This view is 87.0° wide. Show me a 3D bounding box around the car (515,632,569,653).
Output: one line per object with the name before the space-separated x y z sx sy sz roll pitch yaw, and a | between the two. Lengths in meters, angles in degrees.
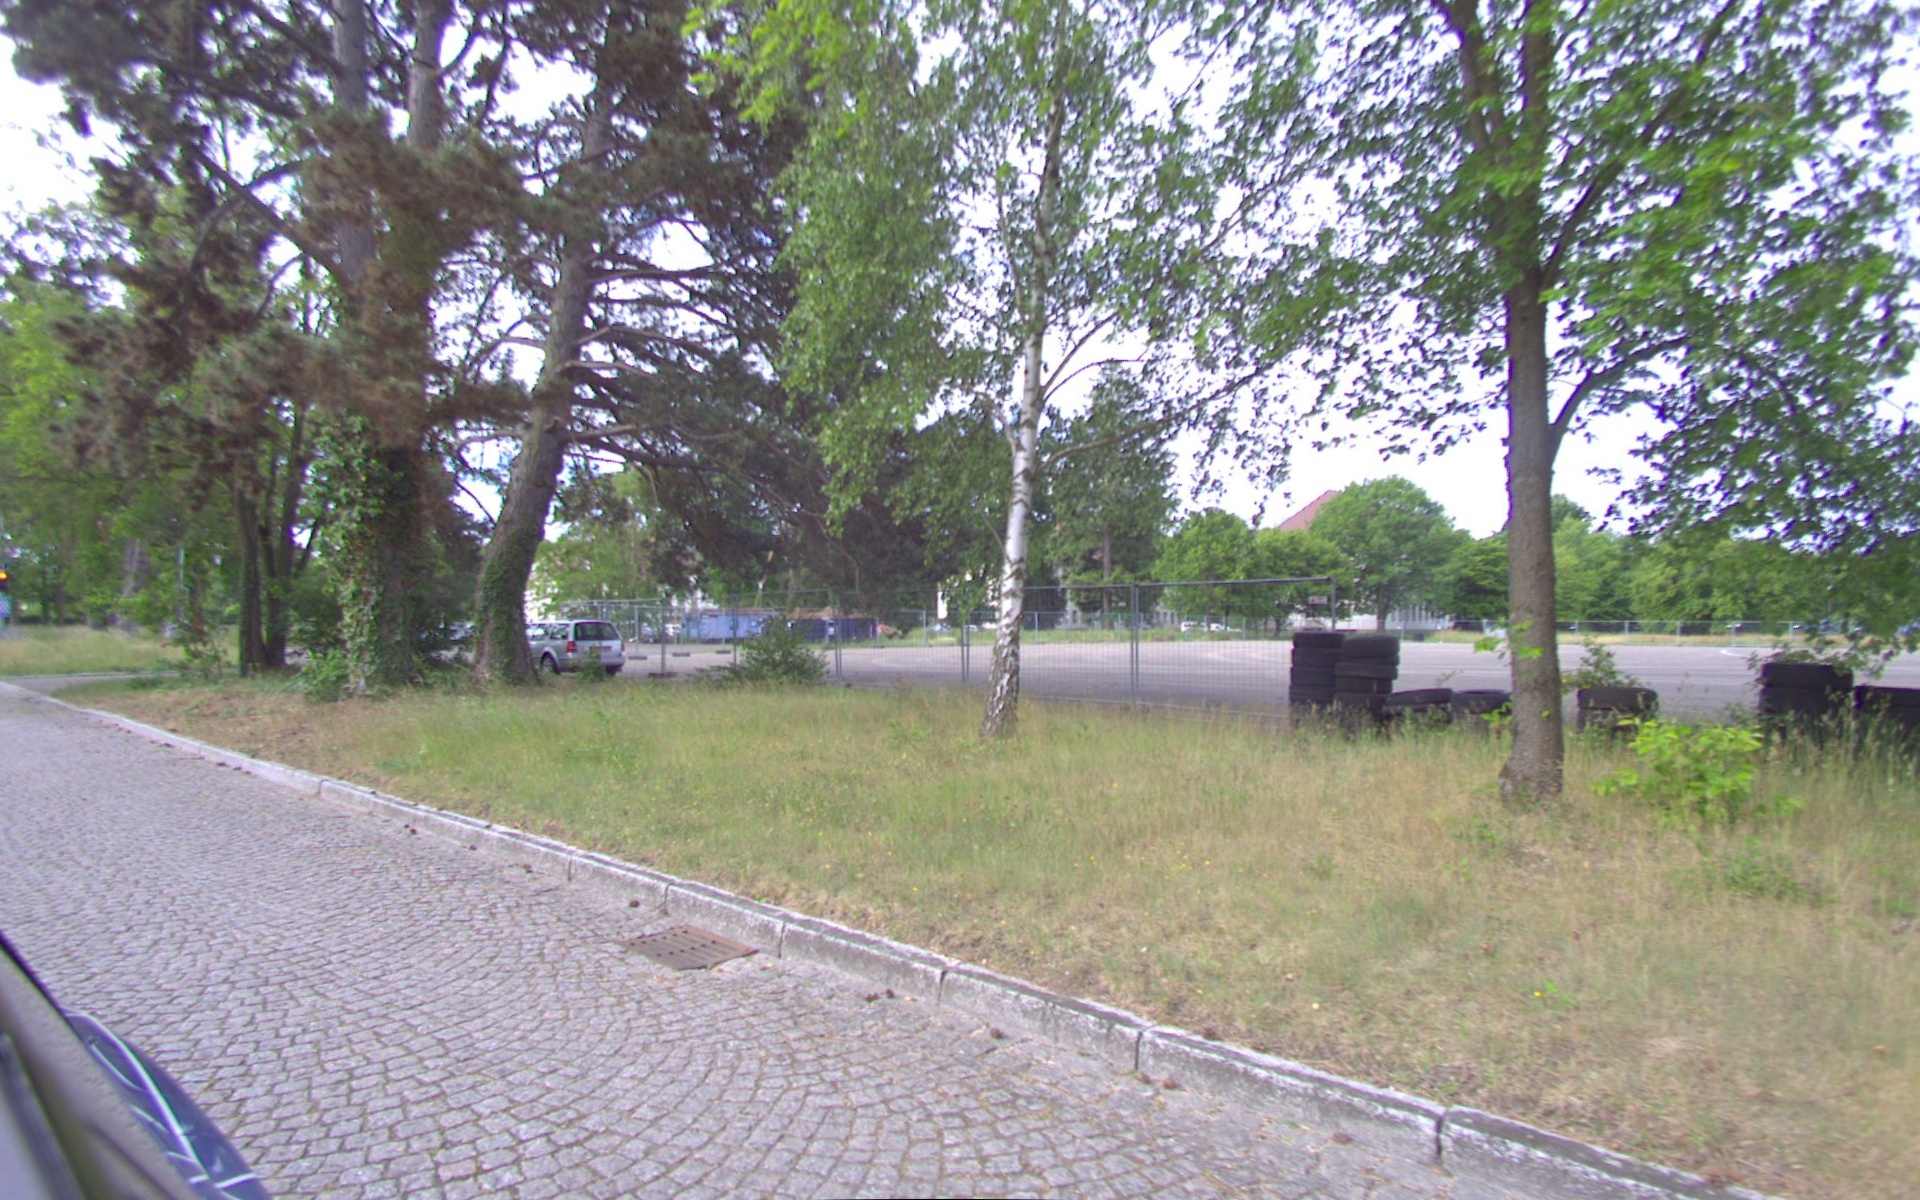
car | -31.288 3.160 75.707 4.396 1.486 1.807 -2 -2 38

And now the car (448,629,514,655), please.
car | -29.013 2.509 61.224 4.396 1.486 1.807 -2 -2 38

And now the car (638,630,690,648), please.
car | -24.550 3.198 83.848 4.393 1.486 1.808 -1 -2 36

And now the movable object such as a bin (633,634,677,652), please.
movable object such as a bin | -16.887 2.385 56.059 1.952 0.976 1.431 -1 -2 33

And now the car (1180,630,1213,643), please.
car | 34.530 5.289 147.880 4.288 1.735 1.805 -2 0 42

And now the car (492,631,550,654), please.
car | -27.611 2.674 63.652 4.032 1.410 1.617 -2 -2 38

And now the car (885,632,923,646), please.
car | -5.829 4.038 105.406 1.684 1.361 4.411 1 -2 -39

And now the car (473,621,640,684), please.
car | -9.979 1.293 24.897 4.415 1.427 1.807 -2 -5 38
